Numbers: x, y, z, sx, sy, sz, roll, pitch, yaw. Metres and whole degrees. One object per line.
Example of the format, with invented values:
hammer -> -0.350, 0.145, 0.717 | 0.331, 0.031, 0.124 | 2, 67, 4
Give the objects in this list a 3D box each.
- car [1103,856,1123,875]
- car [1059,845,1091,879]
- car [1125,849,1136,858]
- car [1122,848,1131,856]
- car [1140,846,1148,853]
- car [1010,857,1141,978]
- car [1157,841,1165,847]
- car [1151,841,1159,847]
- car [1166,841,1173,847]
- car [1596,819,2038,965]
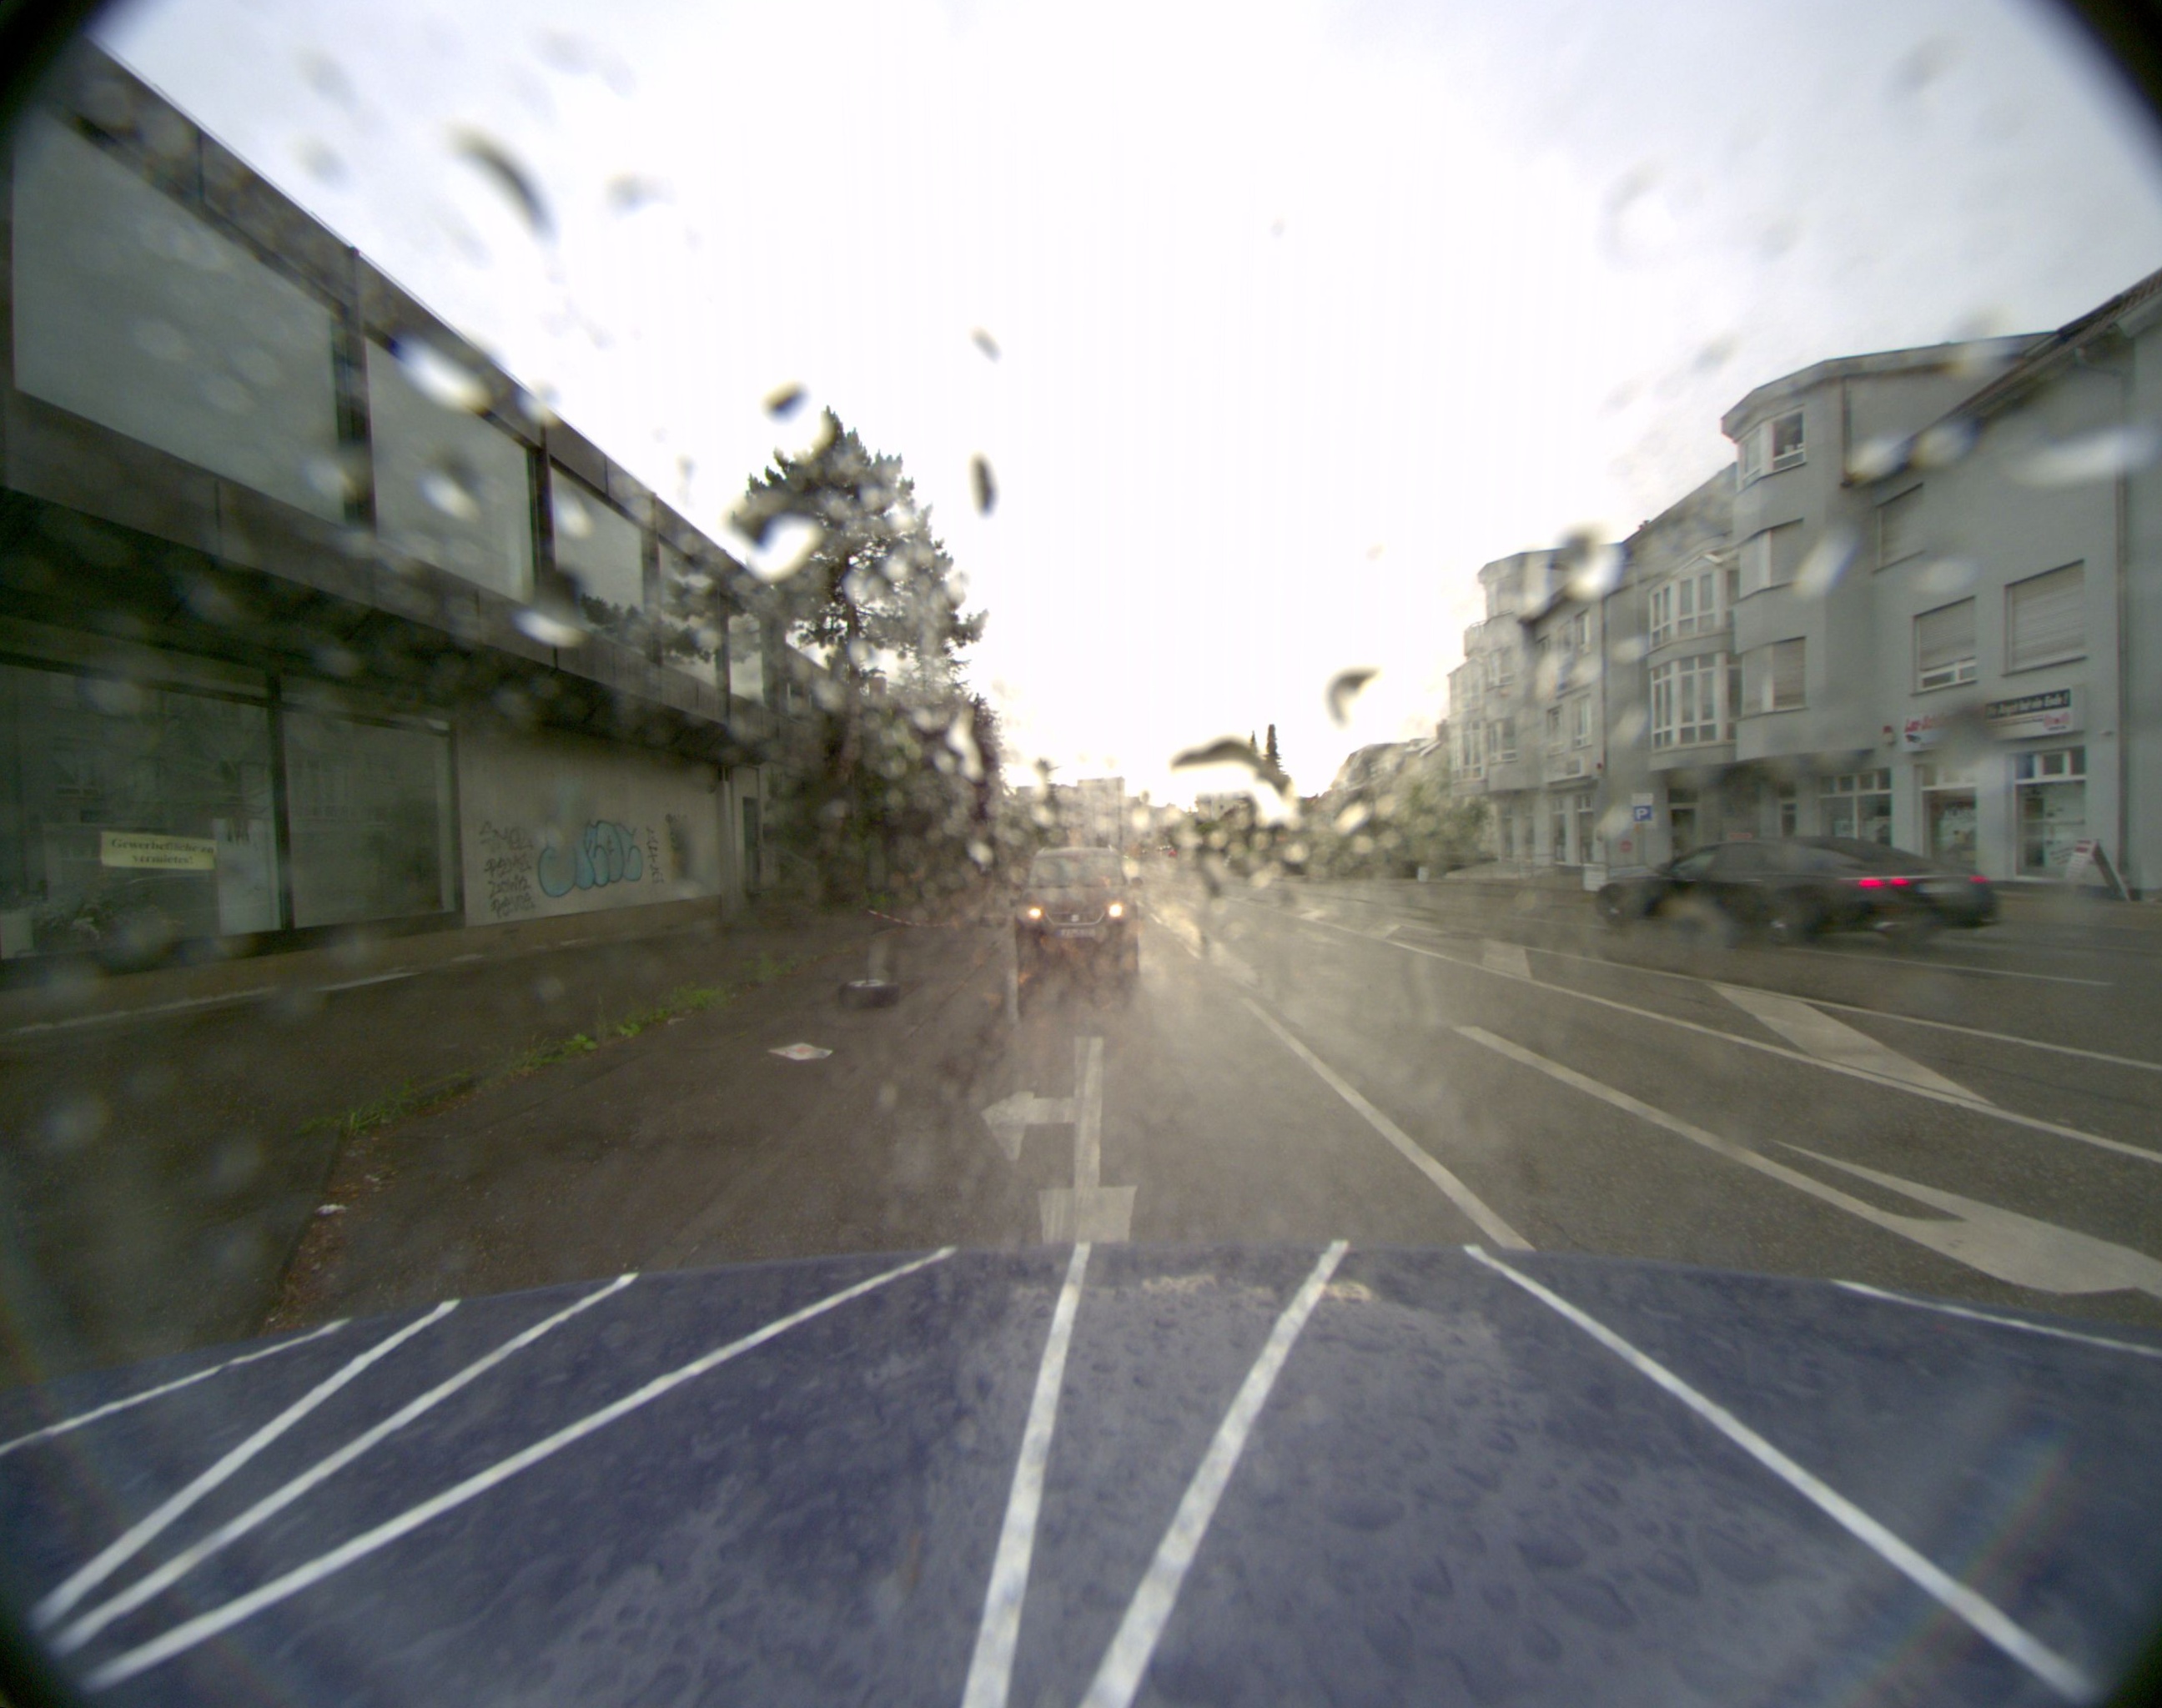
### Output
car -> 3.081, 1.109, 74.168 | 1.803, 1.675, 3.999 | -2, 1, 1
car -> -0.360, 0.475, 50.415 | 1.998, 2.072, 3.999 | -2, 1, 1
car -> 10.609, -0.180, 162.809 | 1.998, 1.723, 3.999 | -2, 1, 1
car -> 11.118, -0.435, 186.730 | 1.998, 1.774, 3.999 | -2, 1, 1
car -> 17.724, -1.261, 214.123 | 1.997, 1.808, 4.002 | -2, 1, 8
car -> -0.049, 0.873, 12.681 | 1.754, 1.534, 4.676 | -1, 1, 1
car -> 24.785, -3.103, 235.022 | 1.997, 2.002, 4.002 | -2, 1, 10
car -> 23.576, -3.314, 242.410 | 1.996, 1.808, 4.003 | -2, 1, 14
car -> 28.280, -3.090, 243.257 | 1.997, 1.808, 4.003 | -2, 1, 12
car -> 10.069, 0.416, 11.066 | 1.999, 1.615, 4.538 | -2, 1, -1
